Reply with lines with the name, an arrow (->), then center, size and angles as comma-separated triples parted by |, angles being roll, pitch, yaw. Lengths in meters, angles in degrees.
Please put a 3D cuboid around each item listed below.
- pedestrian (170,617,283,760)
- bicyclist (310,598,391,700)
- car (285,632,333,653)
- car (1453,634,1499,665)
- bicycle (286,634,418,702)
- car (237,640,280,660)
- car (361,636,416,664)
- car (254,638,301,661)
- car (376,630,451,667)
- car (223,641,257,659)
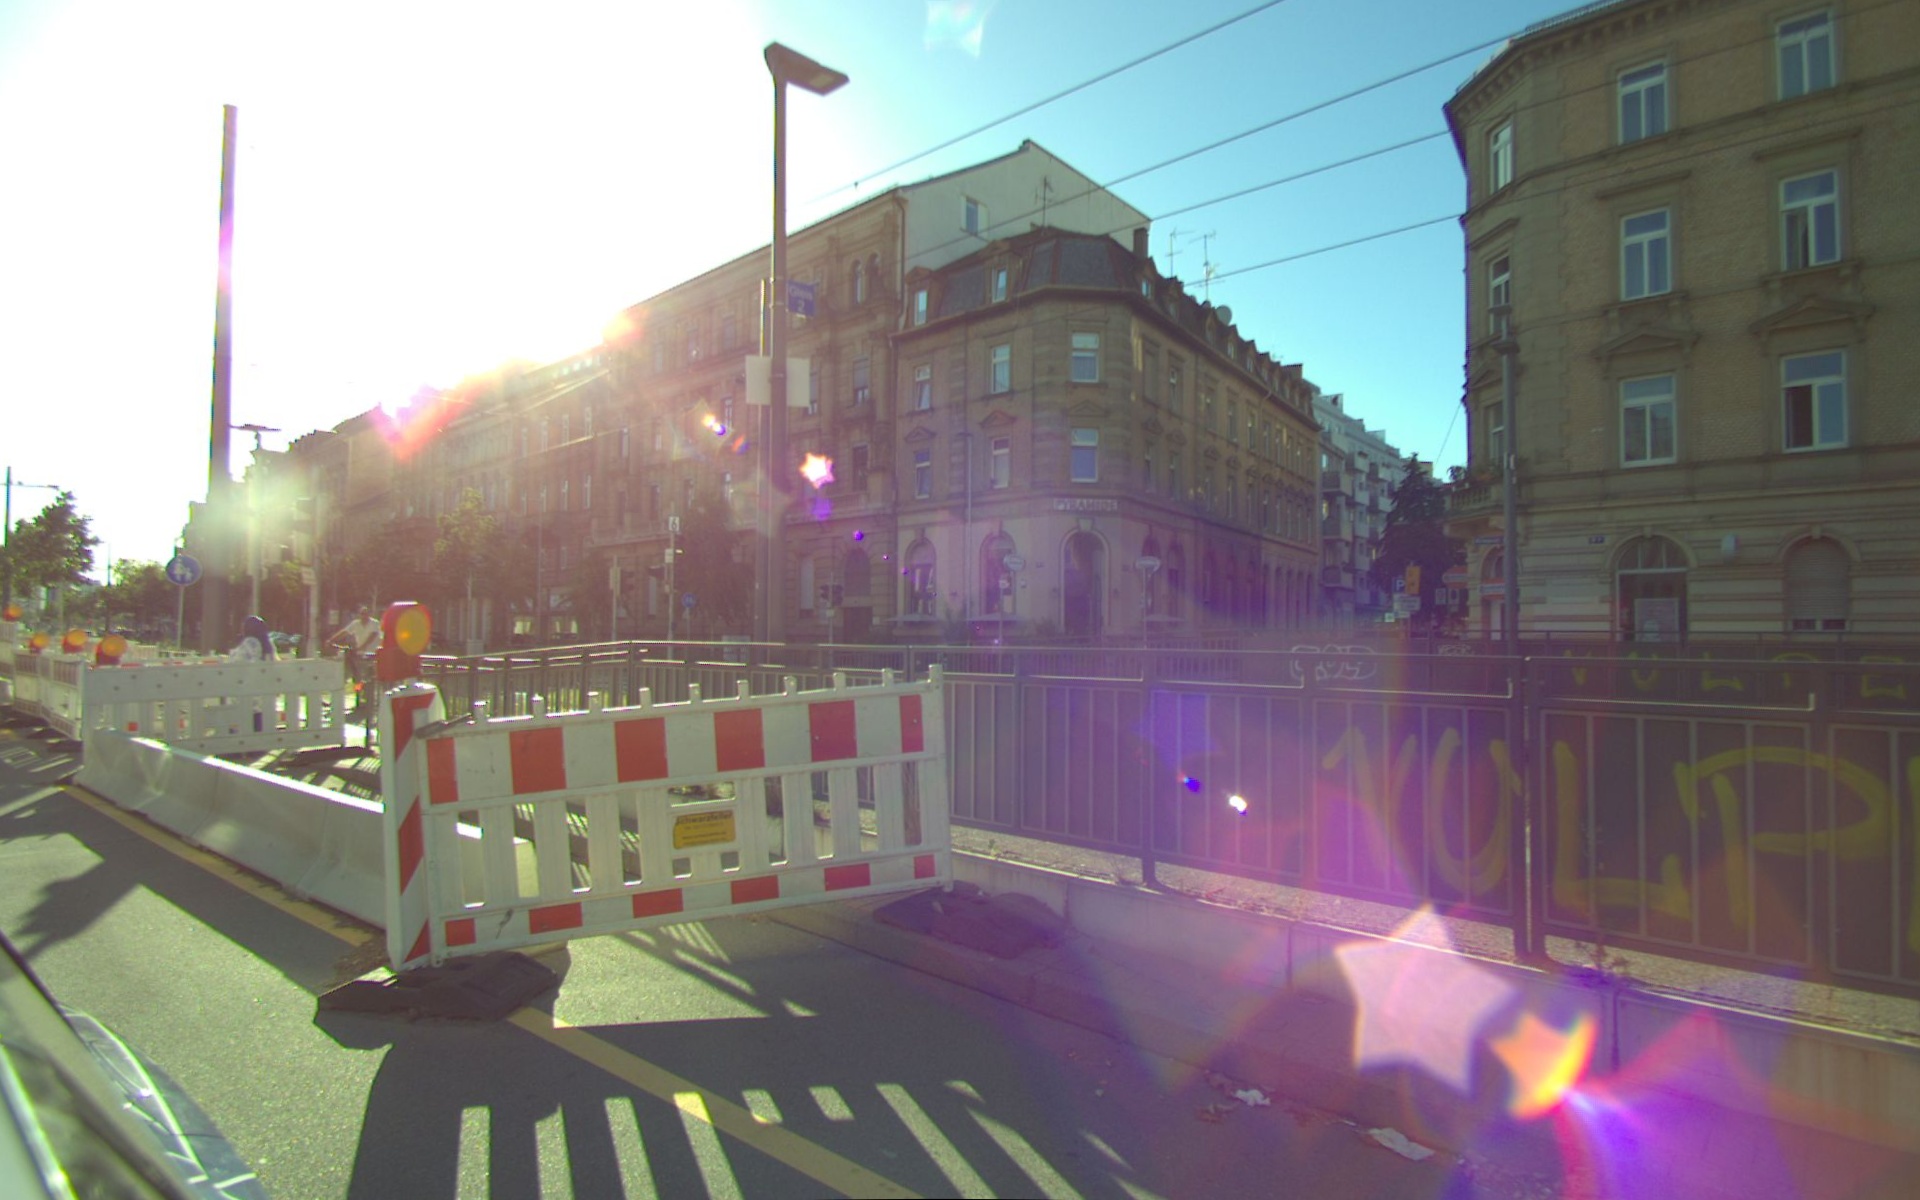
pedestrian -> -8.037, 0.937, 11.090 | 0.946, 1.469, 0.781 | -2, -3, 41
bicyclist -> -10.987, 0.871, 18.259 | 0.849, 1.787, 0.880 | -1, -2, 17
car -> -48.193, 3.170, 74.922 | 4.308, 1.449, 1.972 | -2, -1, 42
car -> 26.640, 2.537, 52.221 | 1.733, 1.530, 3.749 | -1, -2, 33
bicycle -> -10.911, 1.189, 18.252 | 0.848, 1.162, 1.986 | -1, -2, 17
car -> -58.413, 4.165, 84.287 | 4.985, 1.549, 1.972 | -2, -1, 43
car -> -36.774, 3.215, 65.066 | 4.546, 1.671, 1.916 | -2, -1, 45
car -> -53.901, 3.886, 79.931 | 4.887, 1.711, 1.972 | -2, -1, 42
car -> -25.574, 2.239, 47.299 | 4.478, 1.652, 1.776 | -2, -3, 44
car -> -63.254, 4.338, 88.896 | 4.028, 1.490, 1.729 | -2, -1, 43
